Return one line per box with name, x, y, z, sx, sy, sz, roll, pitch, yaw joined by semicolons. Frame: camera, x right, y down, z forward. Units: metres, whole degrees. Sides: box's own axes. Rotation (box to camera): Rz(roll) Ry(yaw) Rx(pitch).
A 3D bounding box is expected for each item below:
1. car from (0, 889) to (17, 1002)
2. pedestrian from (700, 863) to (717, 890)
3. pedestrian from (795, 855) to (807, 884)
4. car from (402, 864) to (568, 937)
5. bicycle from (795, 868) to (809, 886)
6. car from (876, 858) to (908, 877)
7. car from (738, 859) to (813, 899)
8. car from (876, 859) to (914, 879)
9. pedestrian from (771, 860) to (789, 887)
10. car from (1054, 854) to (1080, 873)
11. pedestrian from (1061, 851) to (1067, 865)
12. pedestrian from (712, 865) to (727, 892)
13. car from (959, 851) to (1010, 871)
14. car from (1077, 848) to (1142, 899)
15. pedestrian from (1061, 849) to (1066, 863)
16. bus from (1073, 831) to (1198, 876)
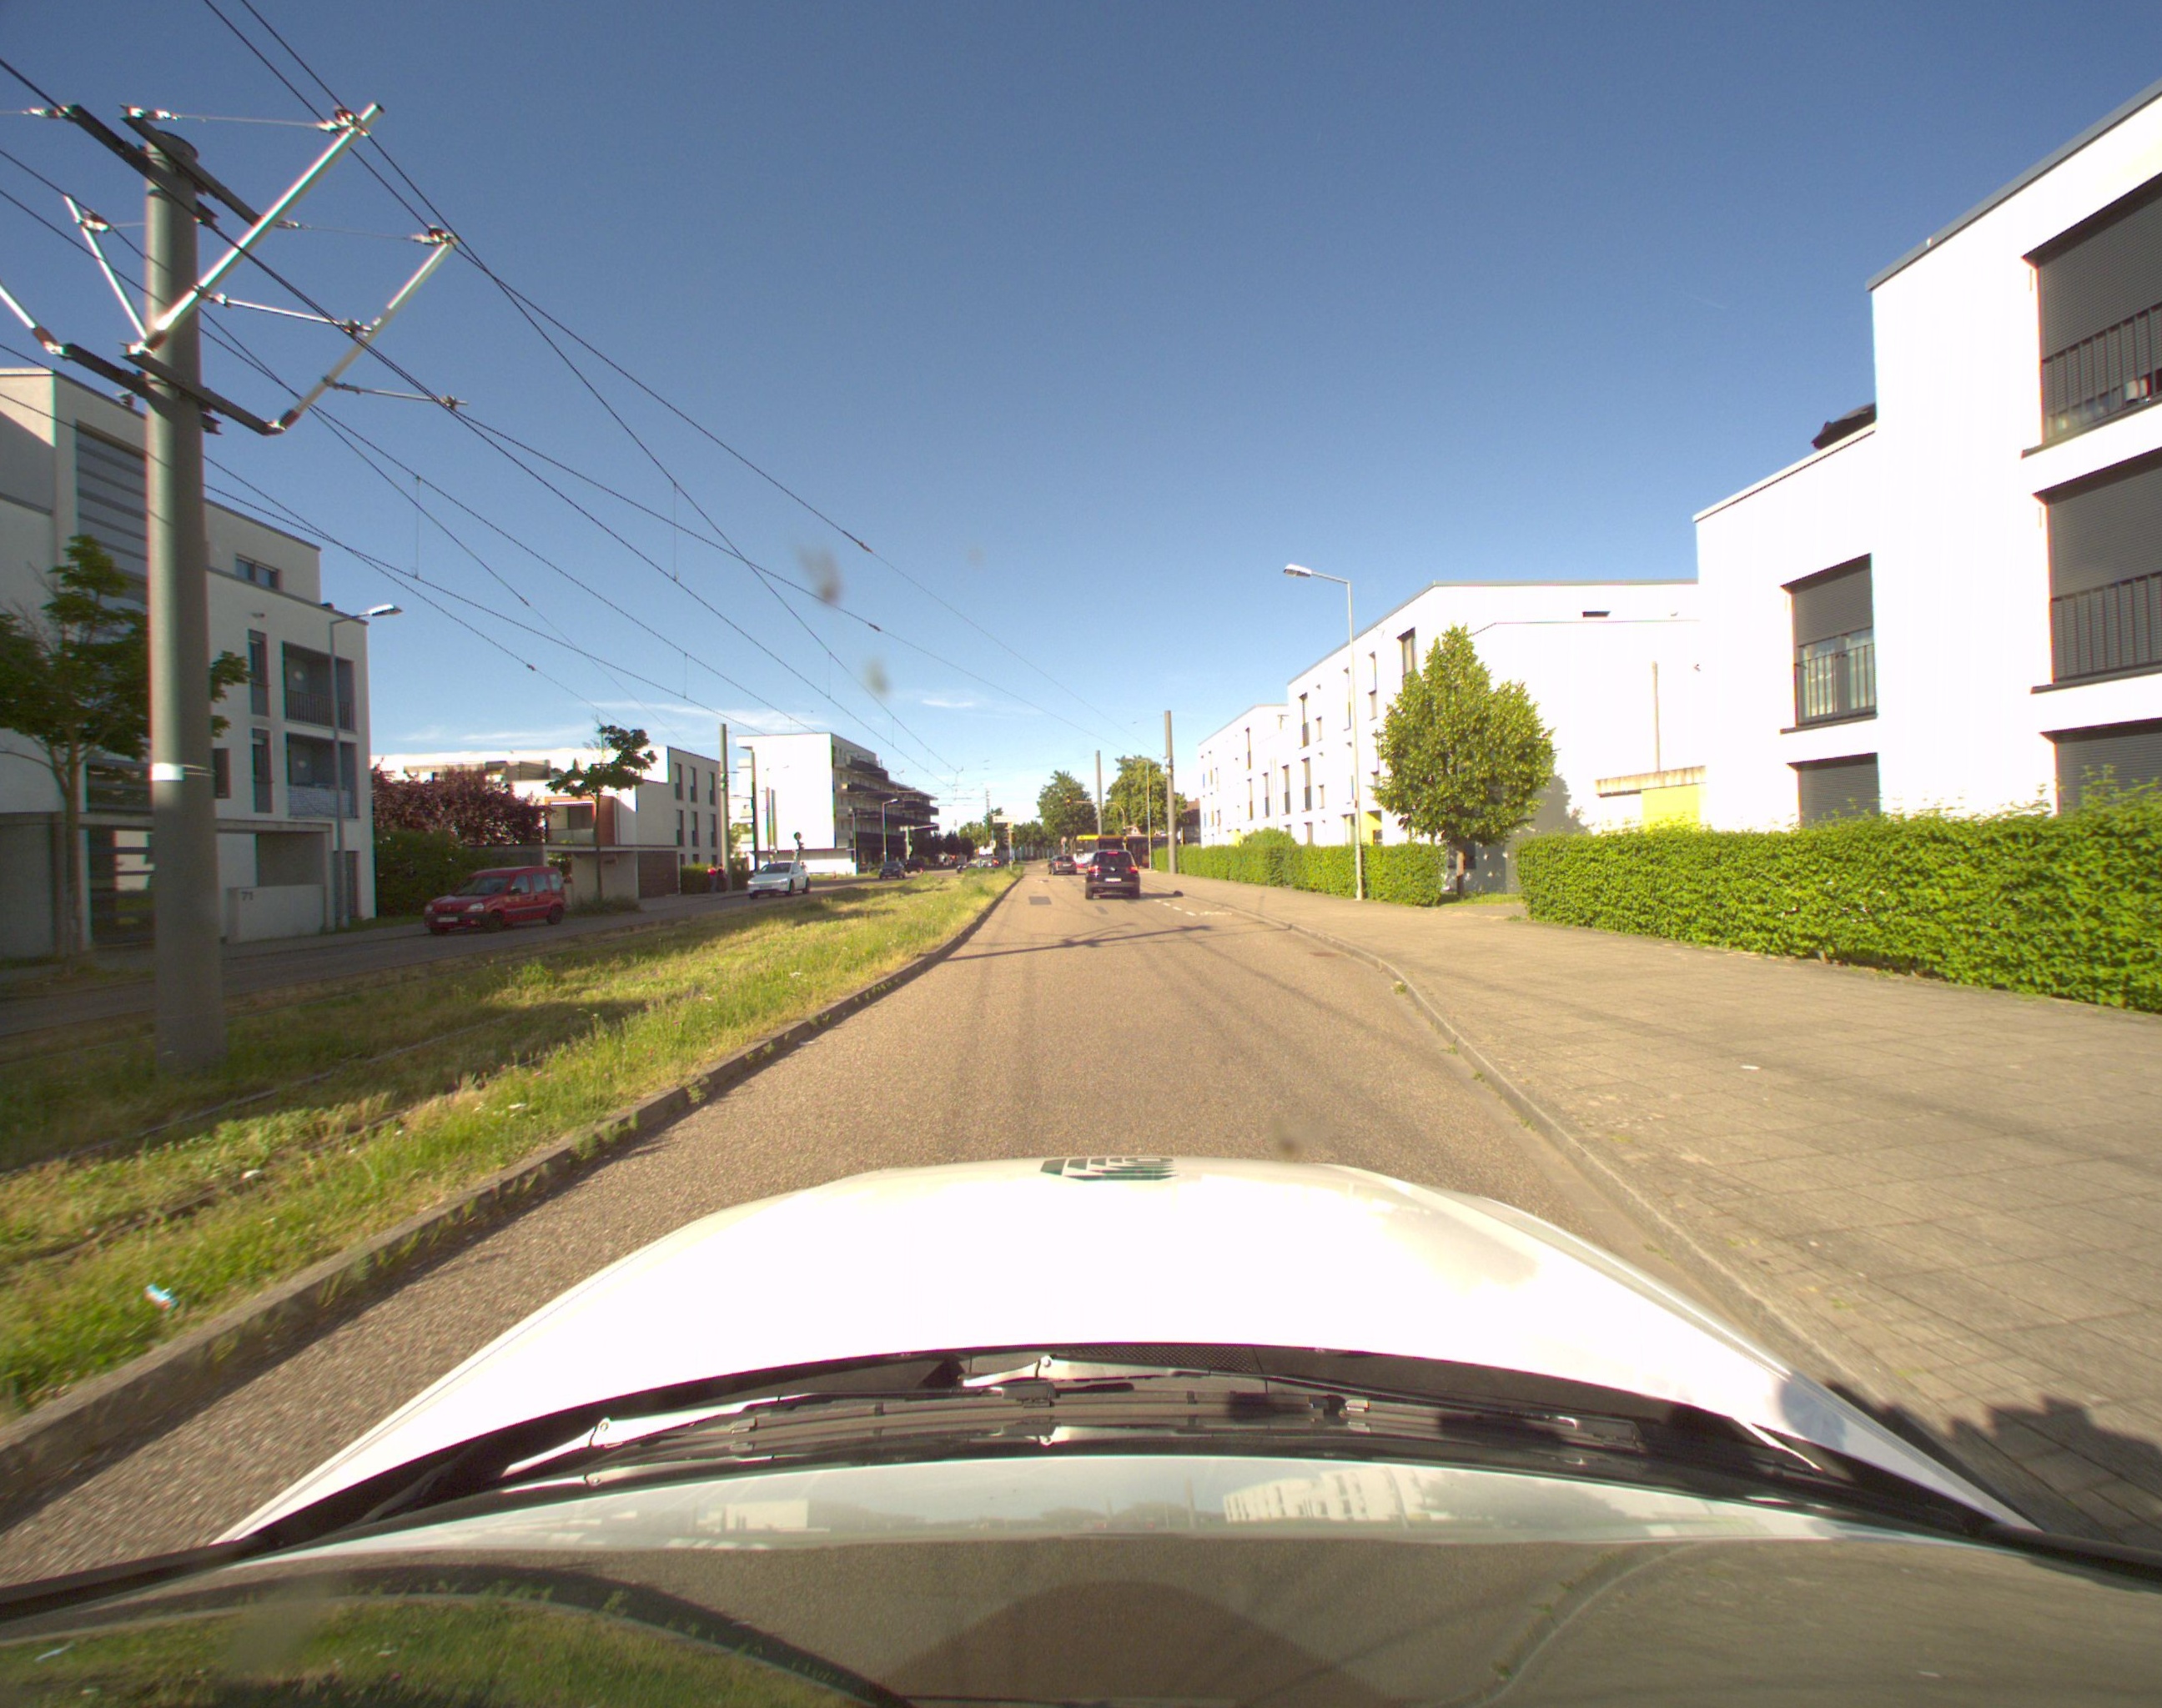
car;-15.613;1.268;9.340;1.820;1.537;3.838;-1;0;-3
pedestrian;-20.452;1.221;44.745;0.555;1.464;0.742;0;0;-1
pedestrian;-19.915;1.106;57.910;0.762;2.013;0.666;0;0;-16
car;-16.515;1.209;22.841;1.876;1.795;3.835;-1;0;-2
bicycle;-20.101;1.641;58.671;0.795;1.221;2.688;-1;0;-16
car;-15.978;1.160;69.031;1.783;1.418;3.998;-4;0;-2
car;-14.408;1.116;38.668;1.990;1.596;4.639;-4;1;-5
car;-20.965;1.670;92.068;1.975;2.013;4.025;-2;0;27
pedestrian;-19.967;1.274;54.029;0.812;1.748;0.910;0;0;3
car;-1.068;0.681;60.200;1.747;1.387;3.995;-1;0;-3
pedestrian;-2.053;0.459;98.621;0.600;1.640;0.529;0;0;2
pedestrian;-19.885;1.323;44.768;0.555;1.464;0.612;0;0;-1
car;-7.913;0.582;66.807;3.692;1.430;1.719;-3;1;28
car;0.917;0.617;28.357;1.901;1.643;3.995;-1;0;-3
pedestrian;-2.086;0.280;98.076;0.600;1.640;0.529;0;0;2
bus;5.182;-0.112;72.429;2.811;3.671;14.774;0;0;41
